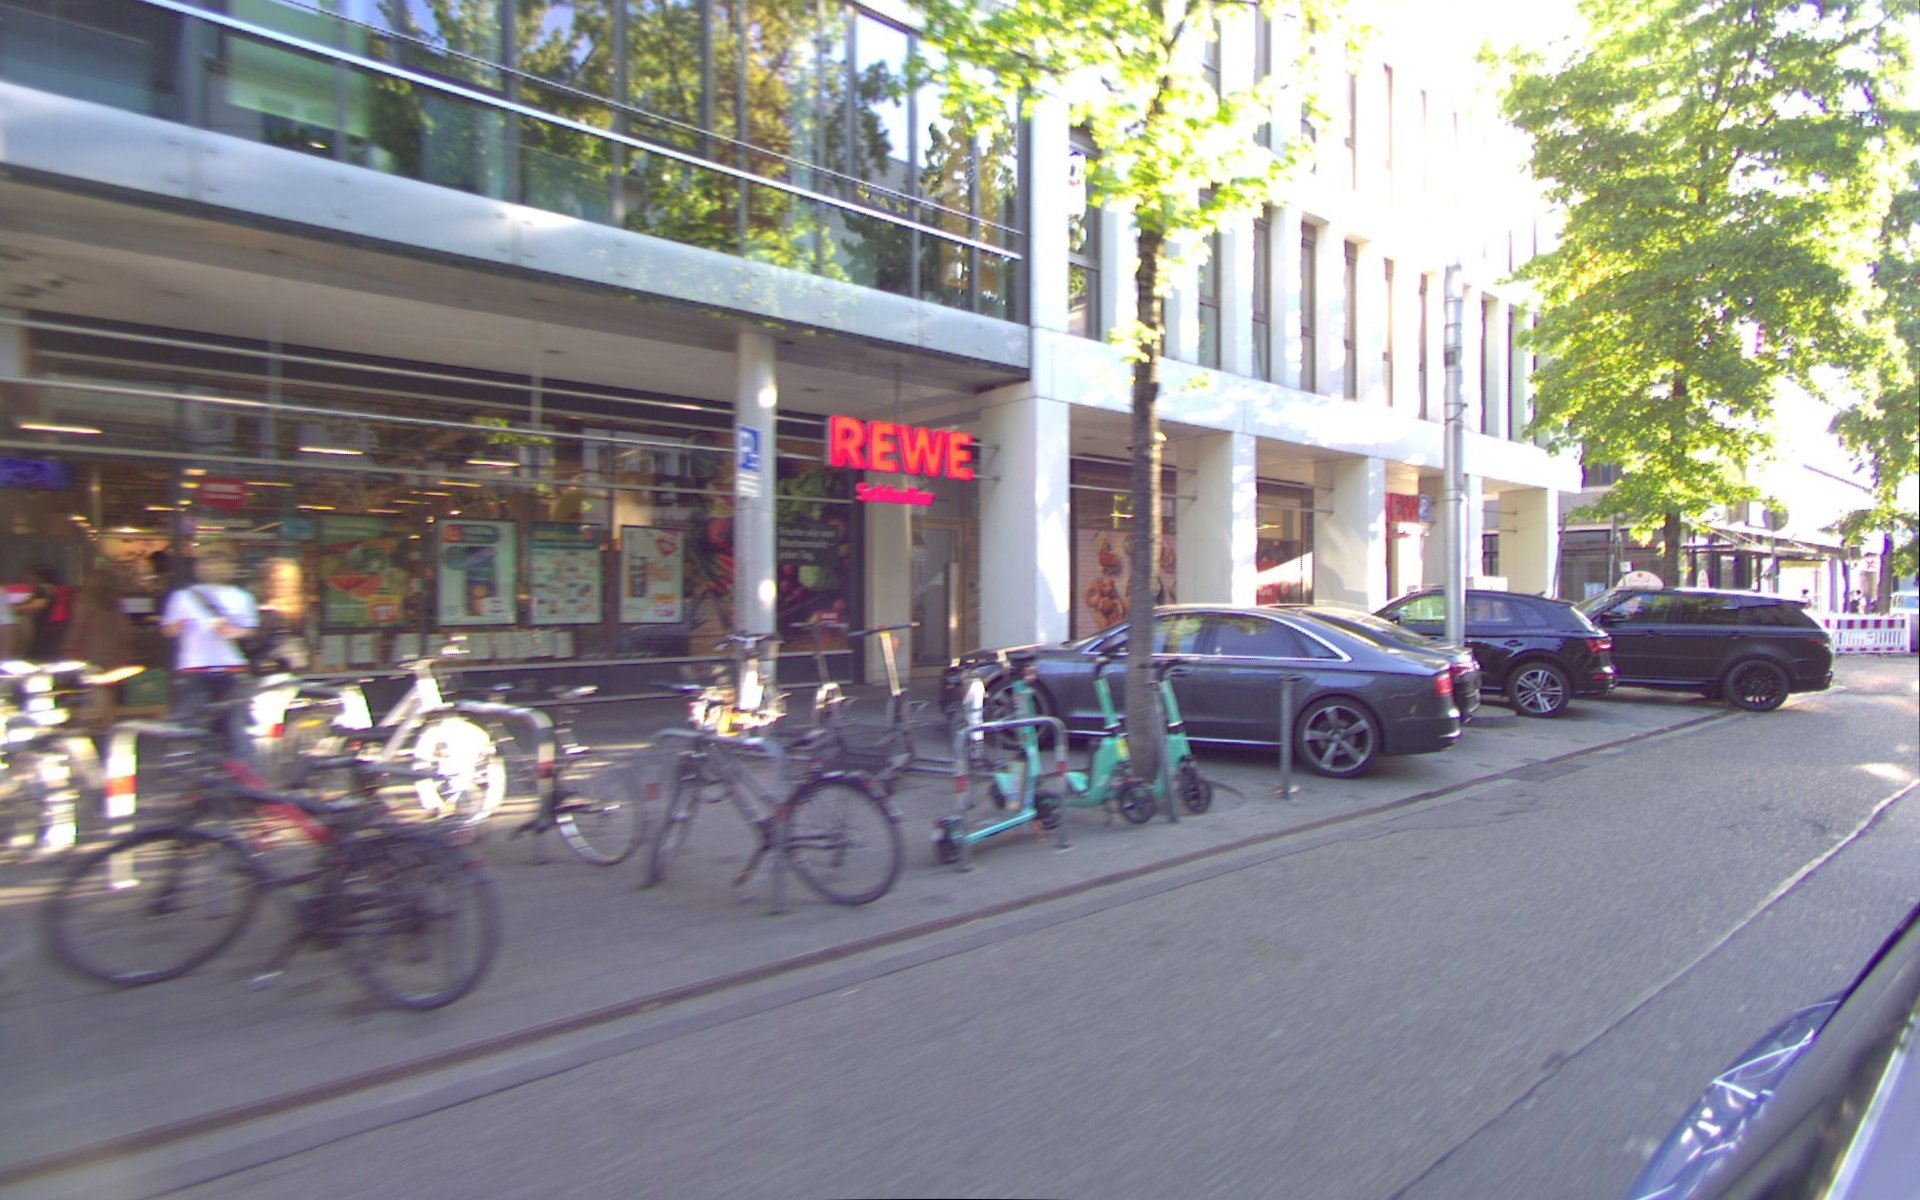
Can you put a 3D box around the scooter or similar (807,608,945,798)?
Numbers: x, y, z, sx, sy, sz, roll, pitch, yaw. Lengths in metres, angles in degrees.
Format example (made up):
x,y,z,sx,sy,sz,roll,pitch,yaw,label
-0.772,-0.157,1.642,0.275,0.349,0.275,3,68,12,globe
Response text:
x,y,z,sx,sy,sz,roll,pitch,yaw,label
-0.645,0.765,8.343,0.622,1.309,1.674,2,2,13,scooter or similar

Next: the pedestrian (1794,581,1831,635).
x,y,z,sx,sy,sz,roll,pitch,yaw,label
31.141,0.269,36.956,0.901,1.921,0.836,0,1,-37,pedestrian

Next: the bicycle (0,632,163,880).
x,y,z,sx,sy,sz,roll,pitch,yaw,label
-5.450,0.823,5.847,1.760,1.119,0.627,3,3,26,bicycle

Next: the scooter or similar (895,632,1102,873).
x,y,z,sx,sy,sz,roll,pitch,yaw,label
0.260,0.884,6.307,1.284,1.291,0.452,-1,4,-41,scooter or similar

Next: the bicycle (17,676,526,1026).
x,y,z,sx,sy,sz,roll,pitch,yaw,label
-2.633,0.943,3.952,1.663,1.177,0.481,2,2,1,bicycle

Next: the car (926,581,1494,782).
x,y,z,sx,sy,sz,roll,pitch,yaw,label
2.333,0.663,10.202,4.989,1.487,1.969,2,3,15,car

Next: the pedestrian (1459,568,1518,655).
x,y,z,sx,sy,sz,roll,pitch,yaw,label
11.375,0.234,21.783,0.786,1.840,0.758,0,2,-6,pedestrian

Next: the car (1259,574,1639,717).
x,y,z,sx,sy,sz,roll,pitch,yaw,label
6.929,0.533,14.742,4.623,1.675,1.990,3,2,27,car

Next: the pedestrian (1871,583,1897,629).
x,y,z,sx,sy,sz,roll,pitch,yaw,label
37.482,0.251,41.043,0.623,1.854,0.706,0,0,-40,pedestrian

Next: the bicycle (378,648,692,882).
x,y,z,sx,sy,sz,roll,pitch,yaw,label
-2.523,0.908,6.017,1.654,1.088,0.728,3,1,21,bicycle

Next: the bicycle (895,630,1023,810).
x,y,z,sx,sy,sz,roll,pitch,yaw,label
0.041,0.871,8.044,0.544,1.121,1.842,2,2,14,bicycle

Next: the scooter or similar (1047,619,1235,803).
x,y,z,sx,sy,sz,roll,pitch,yaw,label
1.361,0.828,7.712,1.281,1.291,0.459,2,3,-2,scooter or similar

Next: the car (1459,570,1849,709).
x,y,z,sx,sy,sz,roll,pitch,yaw,label
10.514,0.502,15.848,4.613,1.785,1.980,3,2,22,car

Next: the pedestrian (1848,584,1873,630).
x,y,z,sx,sy,sz,roll,pitch,yaw,label
36.951,0.280,41.521,0.623,1.854,0.689,0,0,-40,pedestrian

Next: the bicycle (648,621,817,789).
x,y,z,sx,sy,sz,roll,pitch,yaw,label
-1.870,0.812,8.616,0.617,1.144,1.881,2,2,14,bicycle

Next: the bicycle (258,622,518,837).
x,y,z,sx,sy,sz,roll,pitch,yaw,label
-3.748,0.786,6.670,1.254,1.187,0.862,3,1,20,bicycle

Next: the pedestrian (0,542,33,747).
x,y,z,sx,sy,sz,roll,pitch,yaw,label
-8.597,0.380,8.804,0.619,1.765,0.595,1,1,23,pedestrian

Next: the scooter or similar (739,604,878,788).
x,y,z,sx,sy,sz,roll,pitch,yaw,label
-1.228,0.734,8.540,0.554,1.309,1.674,2,2,13,scooter or similar

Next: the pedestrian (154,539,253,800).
x,y,z,sx,sy,sz,roll,pitch,yaw,label
-5.410,0.461,7.244,0.548,1.772,0.524,0,2,-37,pedestrian

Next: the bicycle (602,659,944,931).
x,y,z,sx,sy,sz,roll,pitch,yaw,label
-0.979,0.950,5.408,1.545,1.102,0.863,3,1,21,bicycle

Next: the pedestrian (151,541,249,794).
x,y,z,sx,sy,sz,roll,pitch,yaw,label
-5.437,0.458,7.259,0.540,1.718,0.518,0,0,-35,pedestrian

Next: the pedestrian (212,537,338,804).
x,y,z,sx,sy,sz,roll,pitch,yaw,label
-4.688,0.452,6.926,0.677,1.718,0.542,0,0,38,pedestrian

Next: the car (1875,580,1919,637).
x,y,z,sx,sy,sz,roll,pitch,yaw,label
31.991,0.253,33.451,4.822,1.758,2.027,-1,3,-41,car

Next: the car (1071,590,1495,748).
x,y,z,sx,sy,sz,roll,pitch,yaw,label
3.871,0.682,12.349,4.628,1.443,1.914,2,2,30,car

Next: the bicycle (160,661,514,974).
x,y,z,sx,sy,sz,roll,pitch,yaw,label
-2.985,0.940,4.826,1.677,1.119,0.627,3,3,25,bicycle

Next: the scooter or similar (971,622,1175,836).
x,y,z,sx,sy,sz,roll,pitch,yaw,label
0.799,0.857,7.116,1.290,1.291,0.561,3,3,20,scooter or similar
